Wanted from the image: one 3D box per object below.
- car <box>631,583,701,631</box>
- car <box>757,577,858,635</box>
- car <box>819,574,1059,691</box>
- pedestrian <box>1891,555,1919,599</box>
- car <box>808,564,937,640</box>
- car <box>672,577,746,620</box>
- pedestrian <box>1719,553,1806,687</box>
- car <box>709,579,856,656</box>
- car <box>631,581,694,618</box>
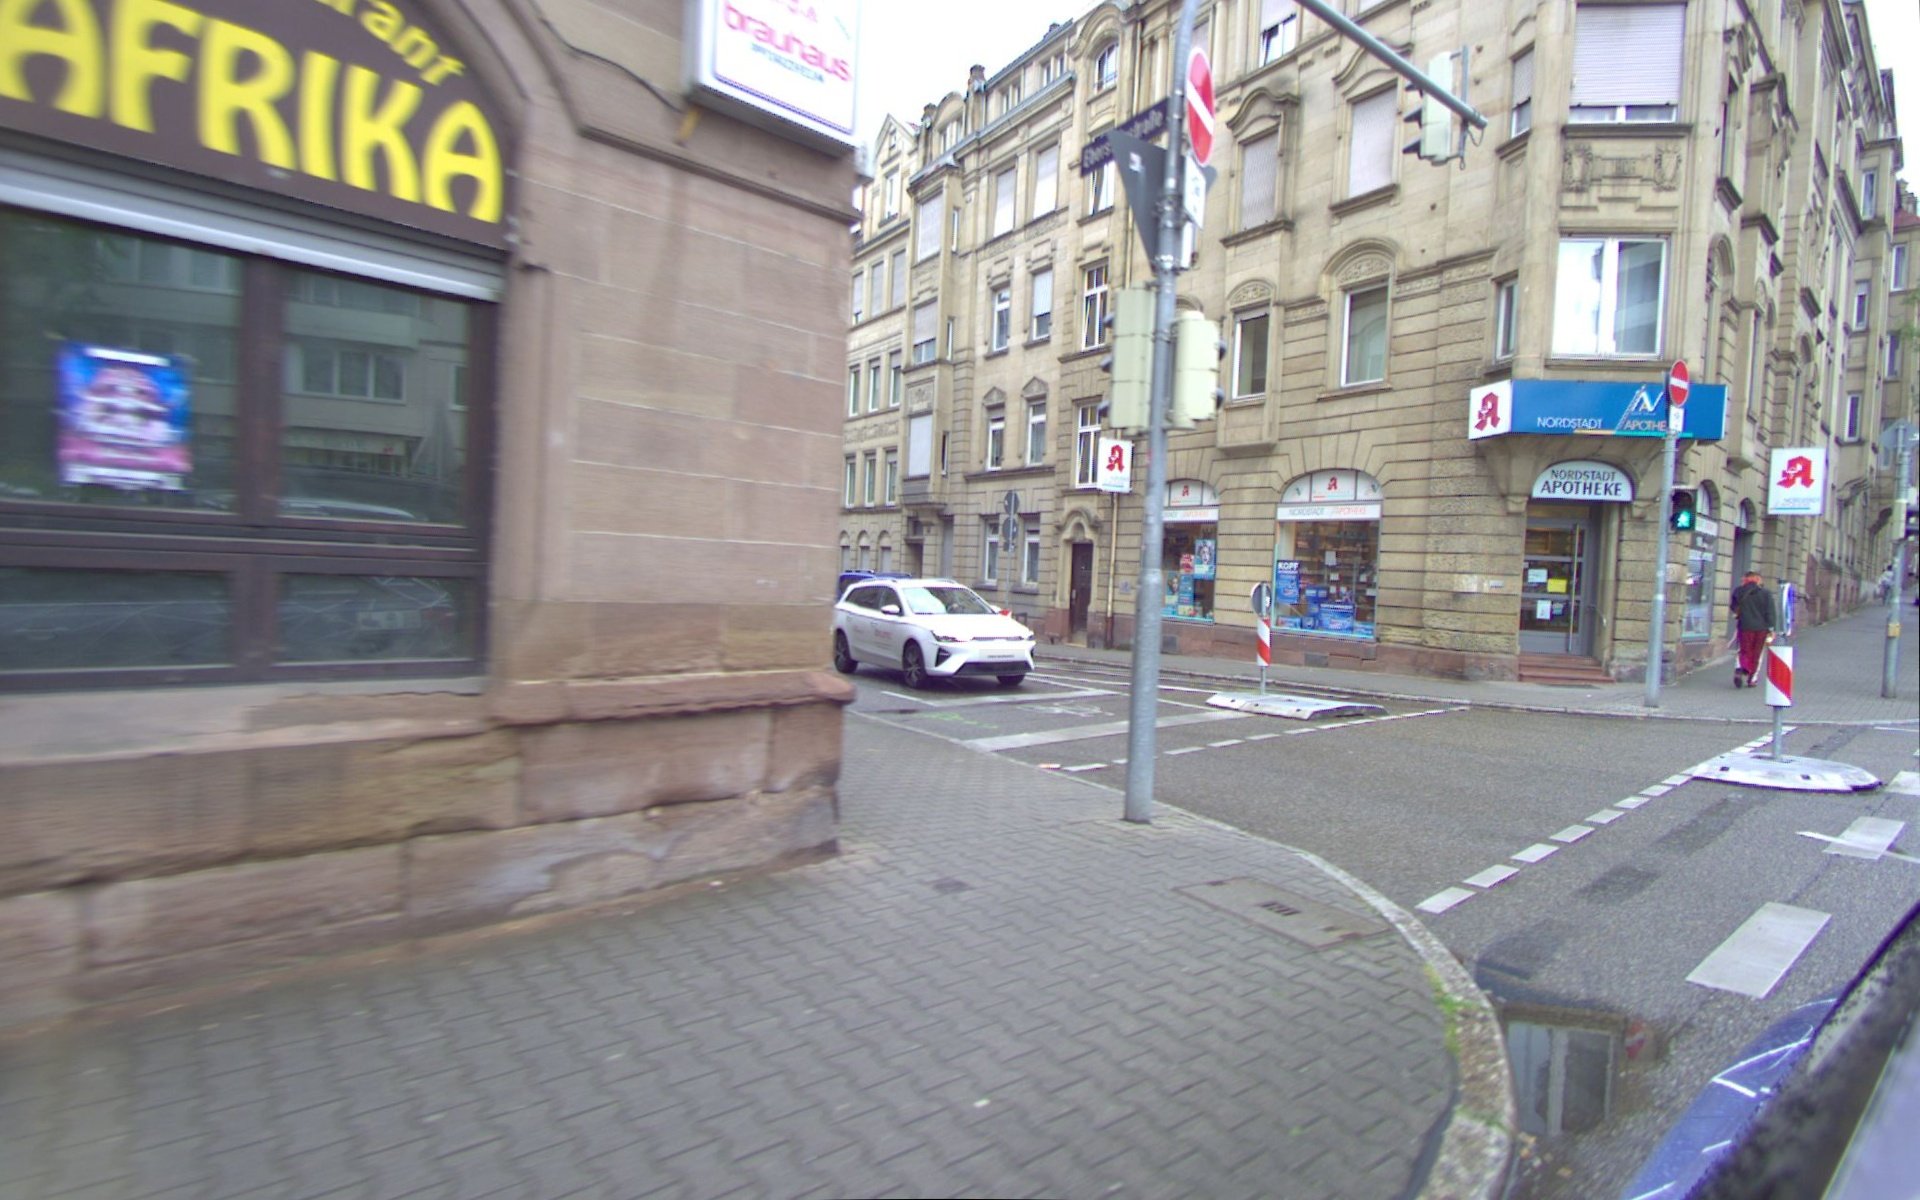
[{"bbox_3d":[-8.896,0.155,30.441,1.727,1.320,3.739,-1,1,-21],"label":"car"},{"bbox_3d":[-4.867,0.145,31.892,1.713,1.717,3.934,1,1,-32],"label":"car"},{"bbox_3d":[-0.507,0.379,15.639,1.805,1.529,4.580,1,1,-28],"label":"car"},{"bbox_3d":[34.764,-0.857,37.207,0.680,1.513,0.644,-6,10,-43],"label":"pedestrian"},{"bbox_3d":[-2.487,0.030,27.884,1.806,1.924,4.181,1,1,-32],"label":"car"},{"bbox_3d":[-9.846,-0.098,39.486,1.639,1.589,3.934,1,1,-32],"label":"car"},{"bbox_3d":[12.367,0.269,15.593,1.070,1.972,0.700,-2,4,-35],"label":"pedestrian"},{"bbox_3d":[-3.806,0.282,21.170,1.693,1.444,4.084,-1,2,-31],"label":"car"},{"bbox_3d":[-13.321,-0.052,45.188,1.639,1.589,3.934,1,1,-32],"label":"car"}]
